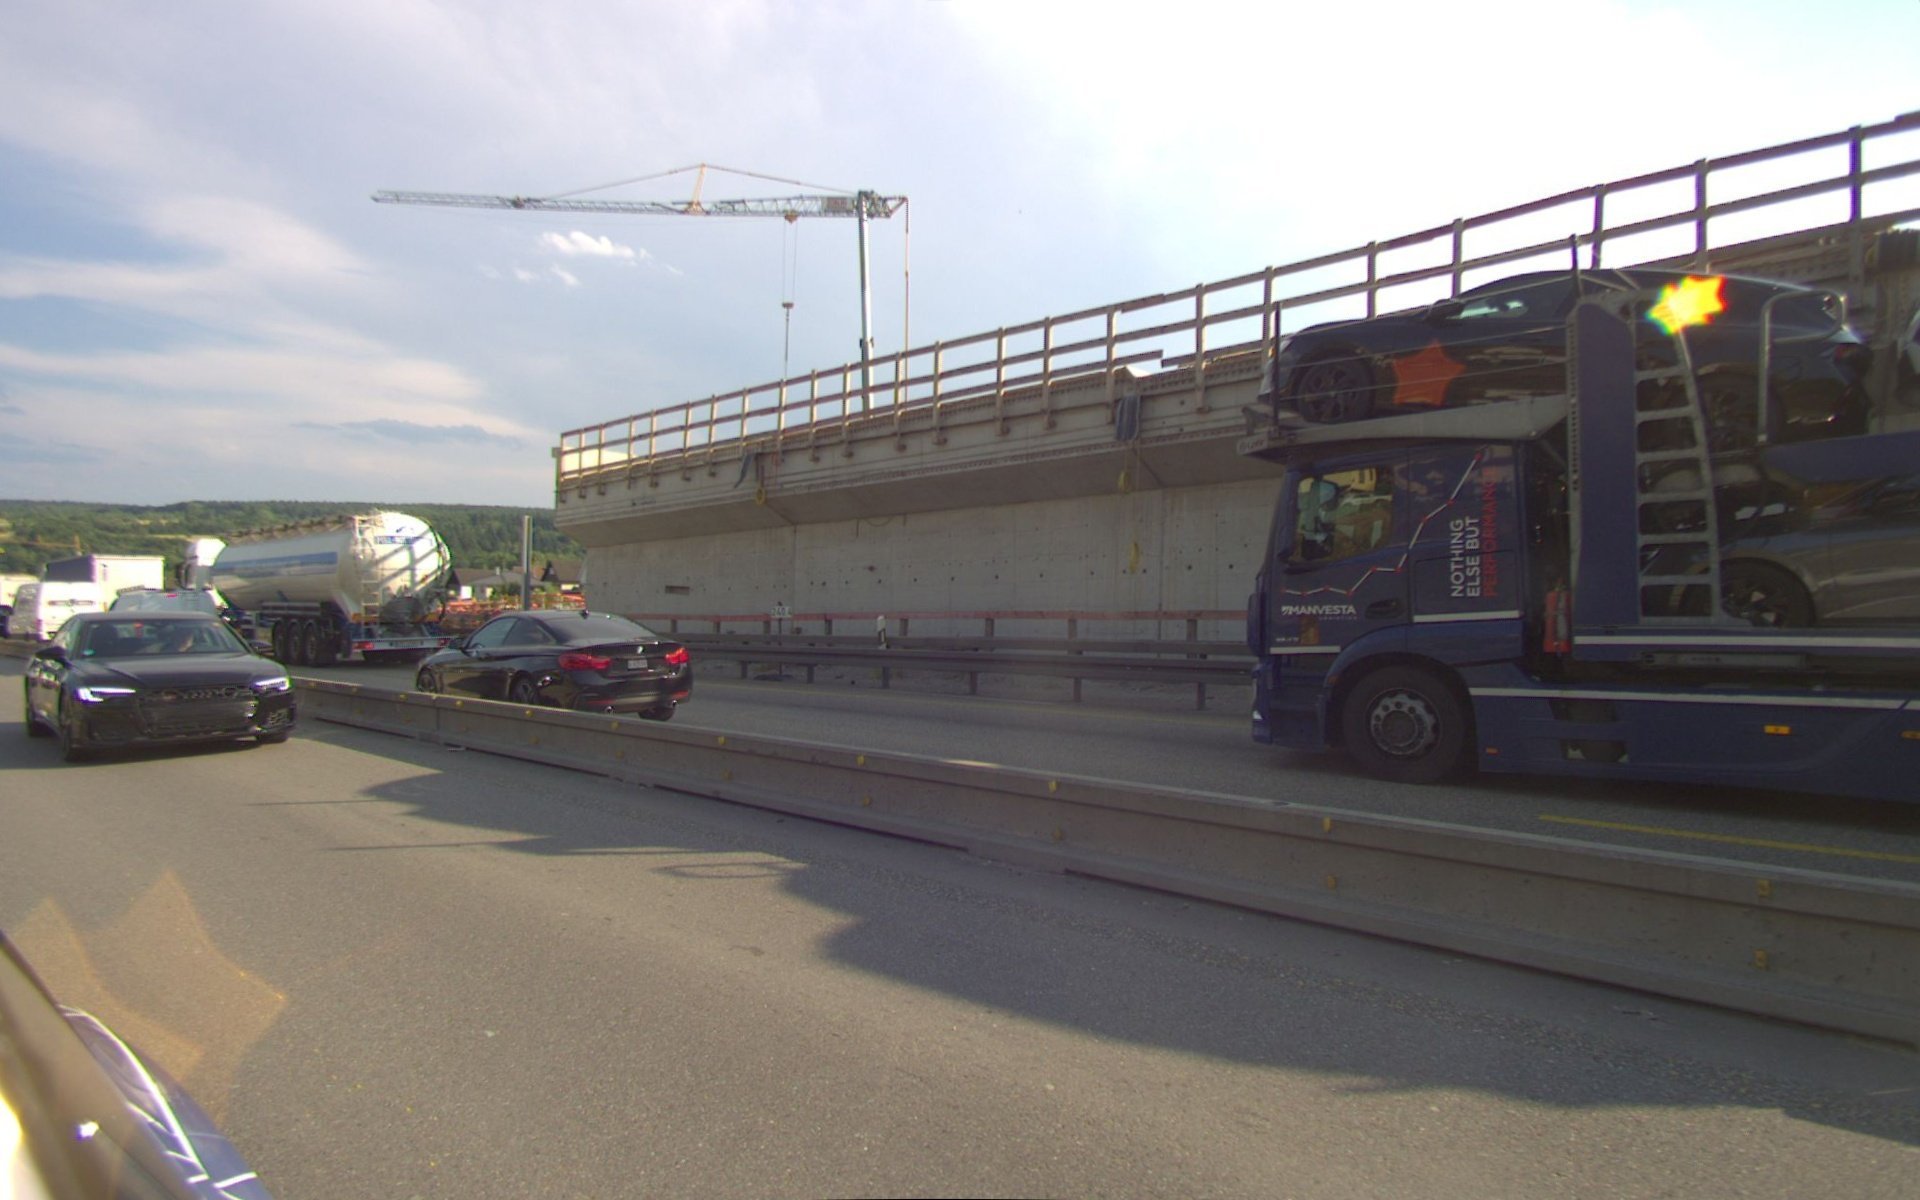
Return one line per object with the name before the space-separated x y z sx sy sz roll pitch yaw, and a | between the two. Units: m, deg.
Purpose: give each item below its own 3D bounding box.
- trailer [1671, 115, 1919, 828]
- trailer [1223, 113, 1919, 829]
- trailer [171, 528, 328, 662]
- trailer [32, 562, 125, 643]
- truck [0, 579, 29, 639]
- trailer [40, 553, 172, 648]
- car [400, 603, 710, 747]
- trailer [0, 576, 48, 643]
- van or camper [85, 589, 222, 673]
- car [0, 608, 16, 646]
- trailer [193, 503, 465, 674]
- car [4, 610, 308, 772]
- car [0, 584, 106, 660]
trailer | 11.433 -0.811 2.394 15.754 4.061 2.743 -1 0 41
trailer | 5.843 -0.733 7.216 7.204 4.061 2.743 -1 0 41
trailer | -22.878 -0.128 32.464 6.426 3.879 2.625 -1 0 41
trailer | -46.746 0.144 53.626 6.220 4.067 2.895 -1 0 41
truck | -71.935 0.695 75.334 10.067 4.296 2.798 -1 0 41
trailer | -41.720 0.074 49.196 13.768 4.067 2.895 -1 0 41
car | -5.168 0.799 12.563 4.598 1.456 1.691 -1 0 41
trailer | -64.891 0.643 69.178 8.731 4.315 2.798 -1 0 41
van or camper | -21.596 0.777 27.023 5.291 2.029 1.839 -1 0 40
car | -49.625 1.375 51.556 4.850 1.857 1.762 -1 0 41
trailer | -18.140 -0.195 28.362 13.436 3.879 2.625 -1 0 41
car | -8.936 0.844 11.111 4.346 1.430 1.849 -1 -1 41
car | -34.223 0.789 38.005 7.403 2.642 1.974 -1 0 39
